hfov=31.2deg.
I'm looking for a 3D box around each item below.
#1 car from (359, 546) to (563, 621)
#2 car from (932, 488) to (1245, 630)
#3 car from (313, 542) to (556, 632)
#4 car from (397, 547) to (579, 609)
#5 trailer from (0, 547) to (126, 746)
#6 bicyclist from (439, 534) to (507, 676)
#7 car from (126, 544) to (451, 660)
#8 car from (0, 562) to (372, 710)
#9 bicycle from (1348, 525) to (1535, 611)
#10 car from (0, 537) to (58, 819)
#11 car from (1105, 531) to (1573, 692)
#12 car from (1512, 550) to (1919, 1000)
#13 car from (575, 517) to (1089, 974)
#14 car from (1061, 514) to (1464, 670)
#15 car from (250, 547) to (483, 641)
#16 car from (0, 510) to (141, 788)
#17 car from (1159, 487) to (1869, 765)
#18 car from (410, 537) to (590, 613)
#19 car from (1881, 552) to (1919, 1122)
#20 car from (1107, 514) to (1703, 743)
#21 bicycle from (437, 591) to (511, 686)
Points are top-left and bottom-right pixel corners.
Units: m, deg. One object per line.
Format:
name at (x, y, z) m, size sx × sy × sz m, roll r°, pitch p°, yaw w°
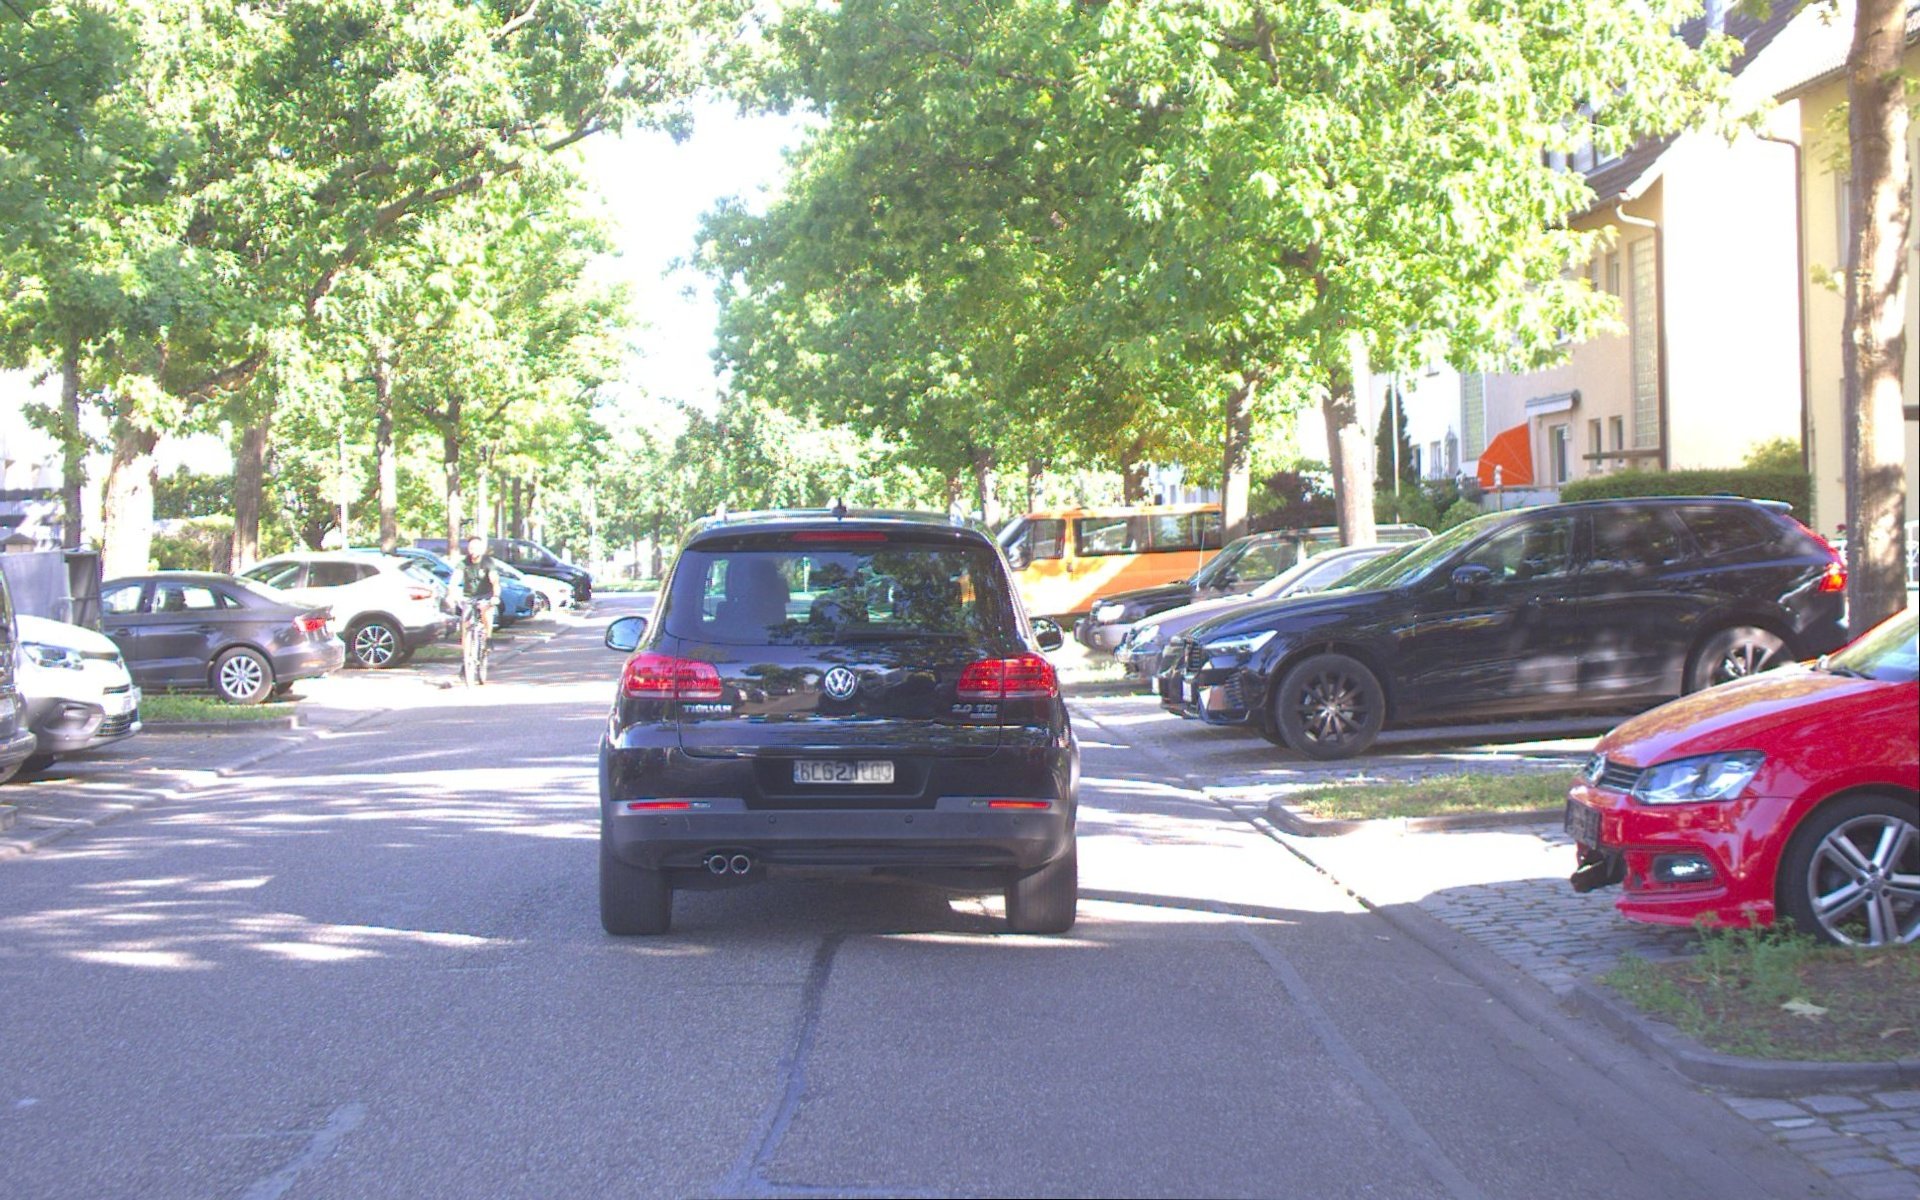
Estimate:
car at (-10.745, -0.358, 74.172) m, size 4.182 × 1.487 × 1.647 m, roll -2°, pitch 0°, yaw -3°
car at (2.039, -0.675, 55.663) m, size 4.818 × 2.076 × 2.086 m, roll -2°, pitch 1°, yaw -3°
car at (-10.291, -0.248, 67.602) m, size 4.523 × 1.625 × 1.938 m, roll -2°, pitch 0°, yaw -3°
car at (-11.487, -0.542, 83.830) m, size 4.275 × 1.473 × 1.769 m, roll 0°, pitch 1°, yaw -4°
trailer at (-8.624, 0.406, 30.063) m, size 2.236 × 1.668 × 1.474 m, roll -1°, pitch 1°, yaw 1°
bicyclist at (-5.902, 0.050, 41.682) m, size 0.596 × 1.668 × 0.975 m, roll -4°, pitch 1°, yaw -2°
car at (-9.299, 0.009, 47.827) m, size 4.187 × 1.561 × 1.792 m, roll 0°, pitch 1°, yaw -1°
car at (-8.650, 0.380, 37.462) m, size 4.210 × 1.466 × 1.691 m, roll -2°, pitch 1°, yaw -3°
bicycle at (7.661, -0.512, 54.767) m, size 2.858 × 1.233 × 0.468 m, roll -3°, pitch 0°, yaw -2°
car at (-8.197, 0.455, 22.347) m, size 4.237 × 1.764 × 1.968 m, roll 0°, pitch 1°, yaw -5°
car at (3.743, 0.099, 34.467) m, size 4.427 × 1.327 × 1.691 m, roll -3°, pitch 1°, yaw 0°
car at (4.093, 0.535, 12.589) m, size 3.777 × 1.479 × 1.755 m, roll -3°, pitch 0°, yaw -1°
car at (-0.514, 0.499, 14.401) m, size 1.838 × 1.631 × 3.958 m, roll -1°, pitch 1°, yaw -2°
car at (3.444, -0.106, 39.677) m, size 4.337 × 1.555 × 1.868 m, roll -3°, pitch 1°, yaw -4°
car at (-10.852, -0.107, 63.030) m, size 3.986 × 1.590 × 1.858 m, roll -2°, pitch 0°, yaw -3°
car at (-8.294, 0.397, 25.058) m, size 4.235 × 1.937 × 2.000 m, roll -2°, pitch 0°, yaw -5°
car at (3.812, 0.157, 24.173) m, size 4.573 × 1.641 × 1.838 m, roll -3°, pitch 1°, yaw -3°
car at (-12.596, -0.692, 94.291) m, size 4.778 × 1.910 × 2.019 m, roll -2°, pitch 1°, yaw -6°
car at (4.659, 0.497, 7.927) m, size 4.502 × 1.441 × 1.838 m, roll -3°, pitch 1°, yaw -1°
car at (3.433, 0.195, 27.041) m, size 4.319 × 1.524 × 1.841 m, roll -3°, pitch 1°, yaw -3°
bicycle at (-5.875, 0.454, 41.659) m, size 0.596 × 1.055 × 1.986 m, roll -4°, pitch 1°, yaw -2°
